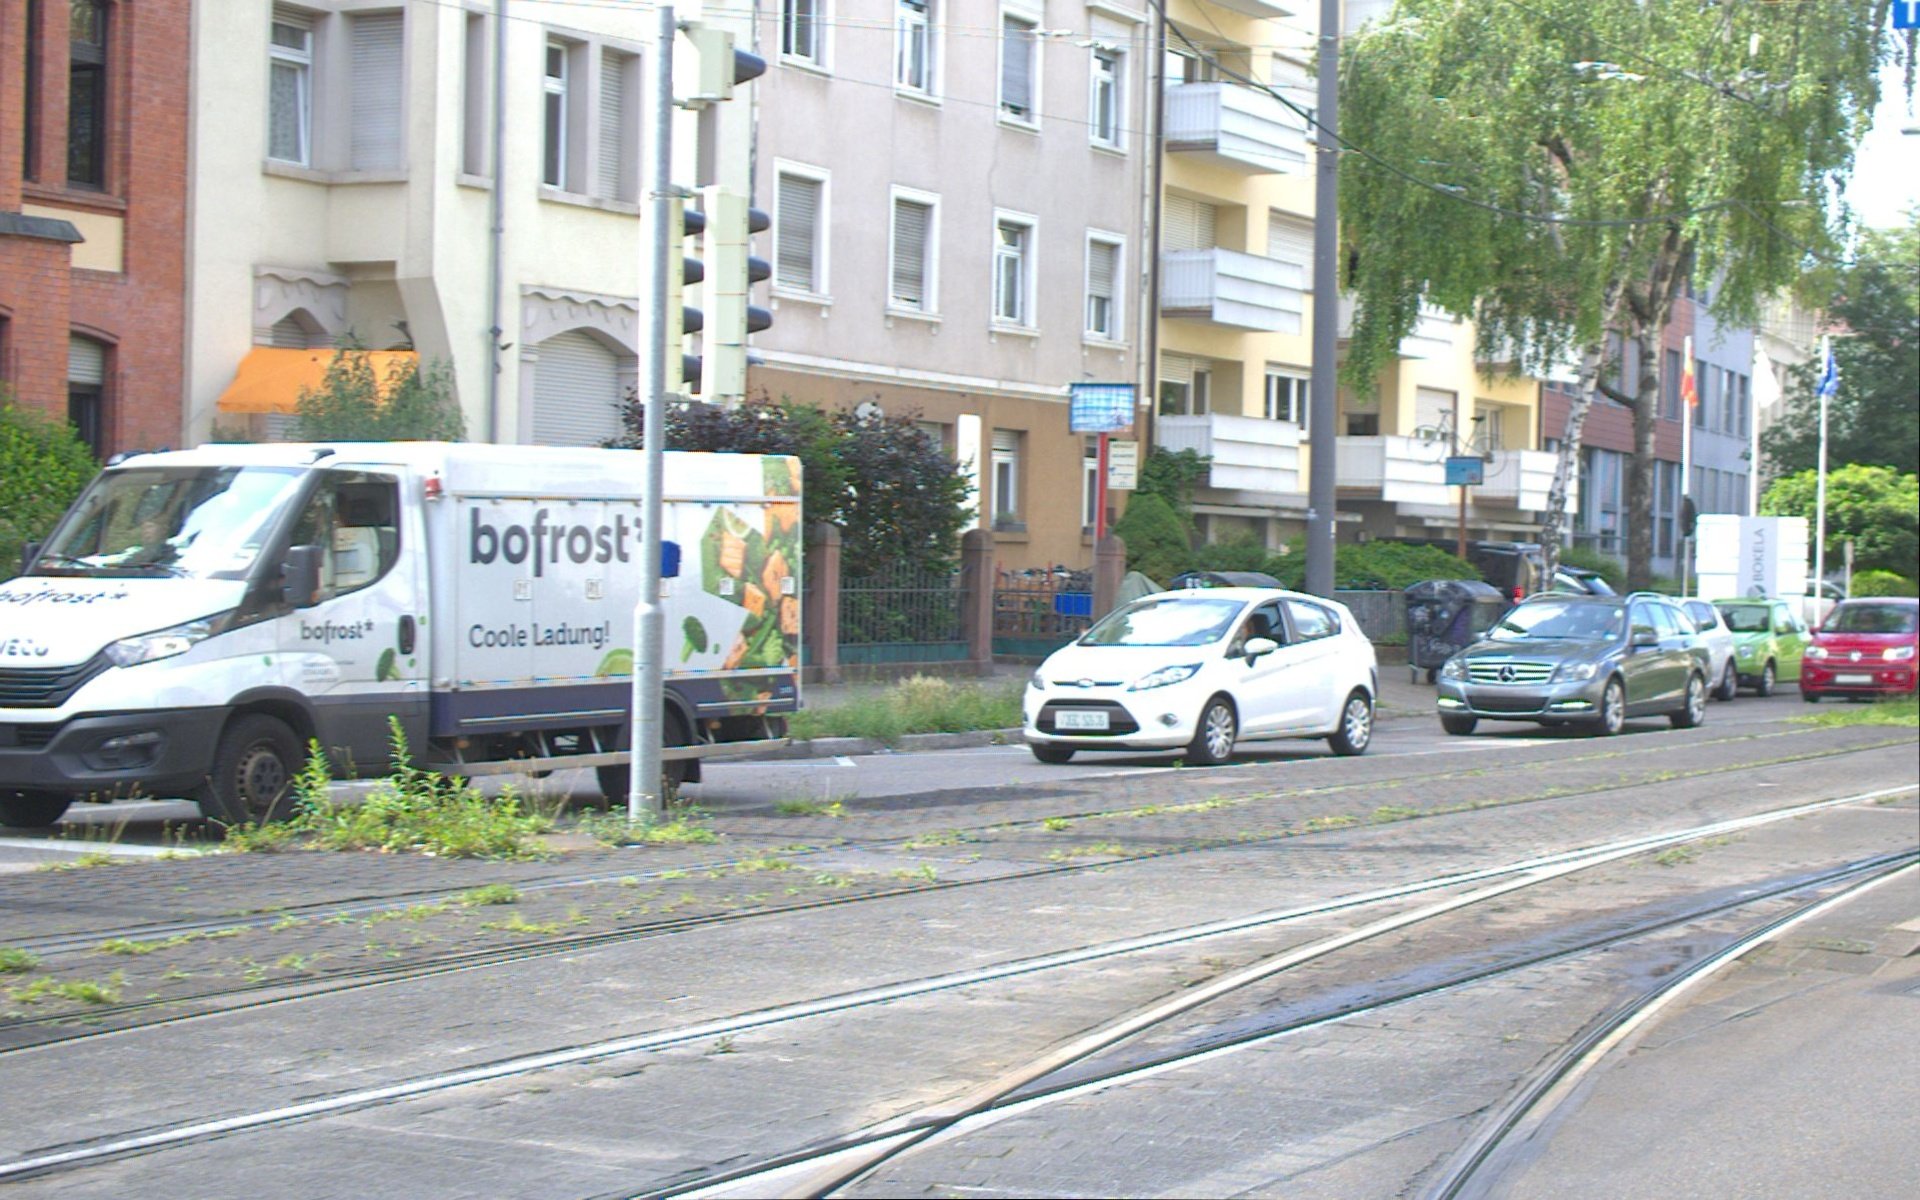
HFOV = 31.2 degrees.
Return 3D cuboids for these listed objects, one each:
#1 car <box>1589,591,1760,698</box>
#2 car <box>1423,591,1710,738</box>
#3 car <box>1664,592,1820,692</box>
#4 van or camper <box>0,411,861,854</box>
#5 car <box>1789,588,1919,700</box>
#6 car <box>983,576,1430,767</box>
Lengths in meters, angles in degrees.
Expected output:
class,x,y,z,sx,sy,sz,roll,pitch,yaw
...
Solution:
class,x,y,z,sx,sy,sz,roll,pitch,yaw
car,9.903,0.584,47.527,1.564,1.381,3.183,2,1,26
car,6.345,0.618,35.640,2.231,1.367,3.976,2,1,20
car,11.647,0.599,51.096,1.564,1.381,3.183,2,1,26
van or camper,-3.372,0.143,20.763,2.245,2.246,6.533,2,1,32
car,12.662,0.576,47.362,1.713,1.437,3.349,2,1,26
car,2.141,0.559,28.885,1.933,1.434,4.011,2,1,35
